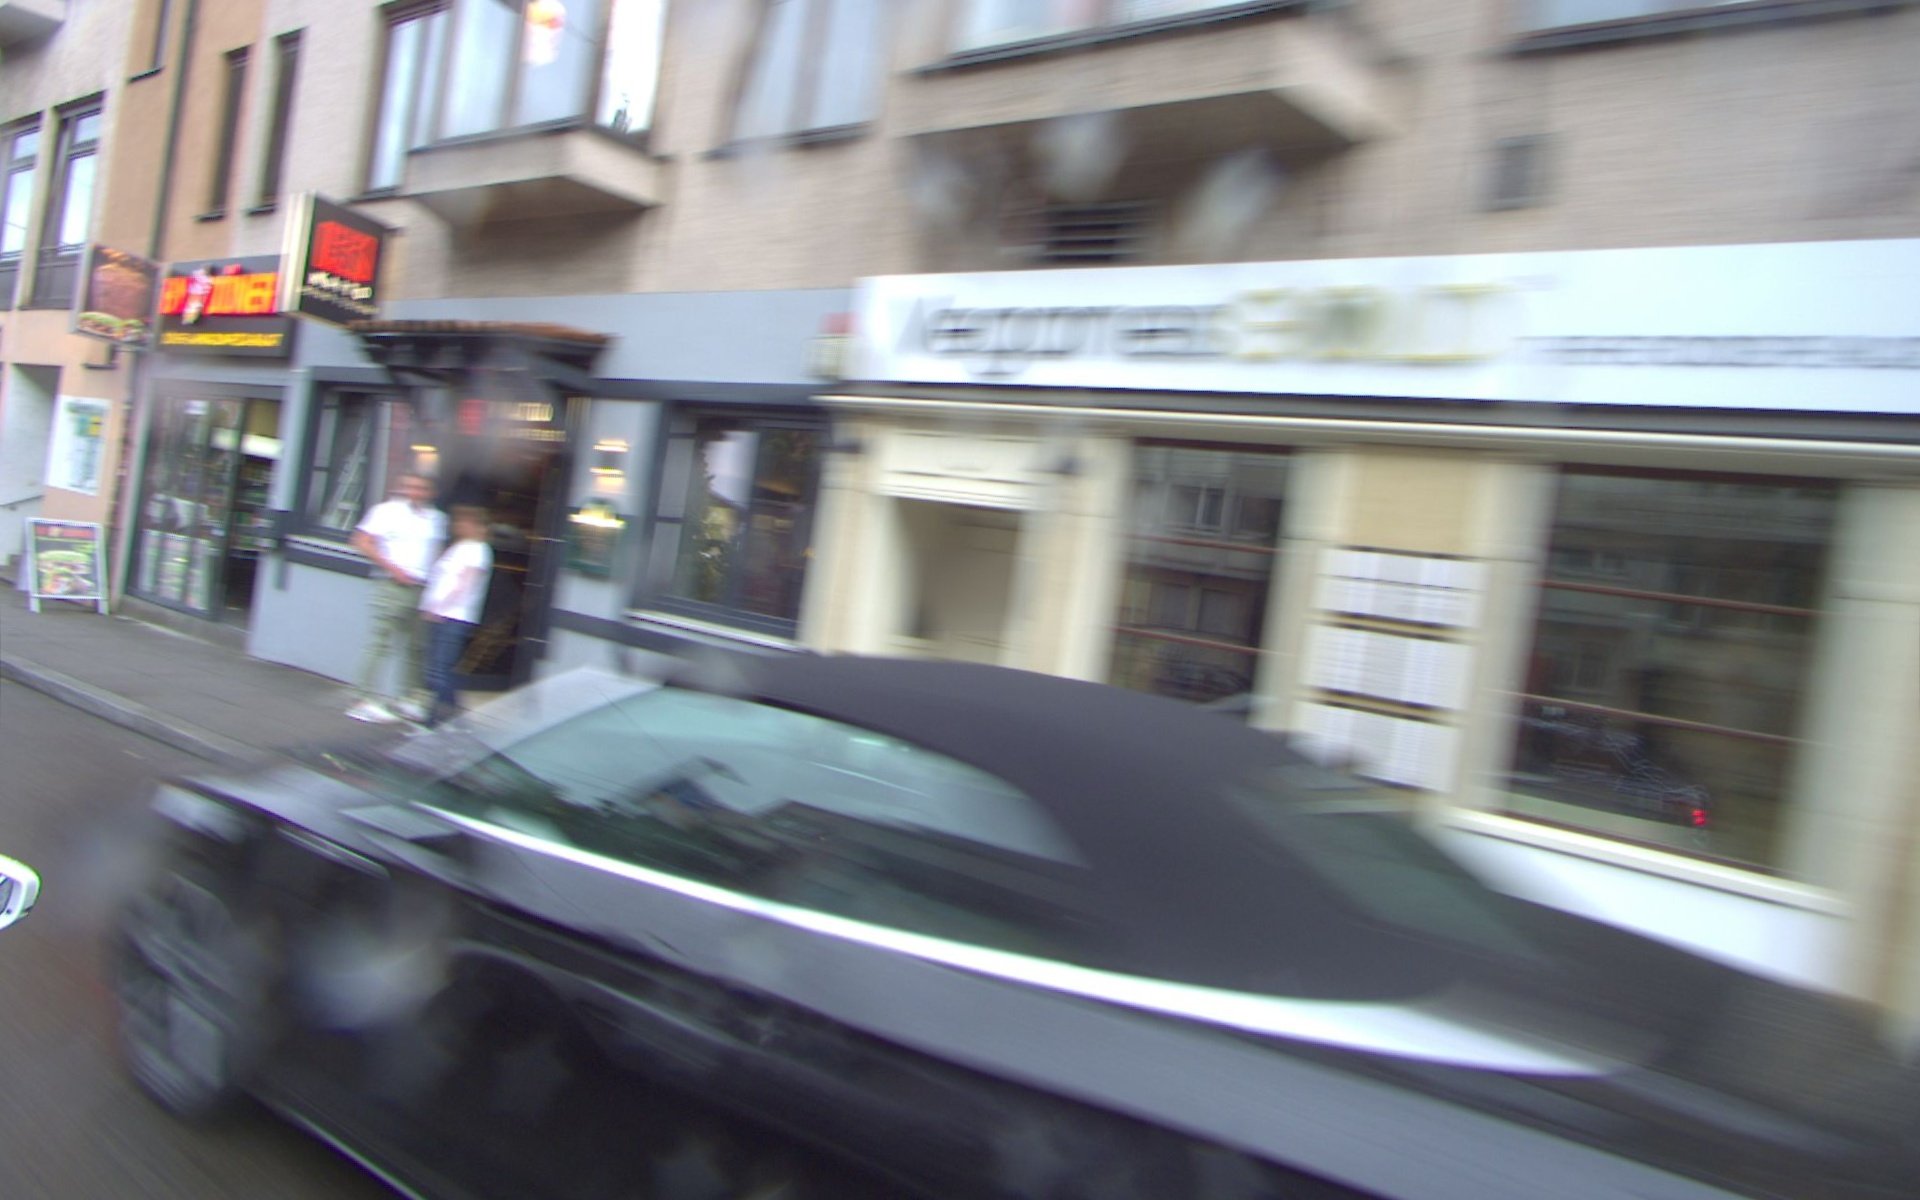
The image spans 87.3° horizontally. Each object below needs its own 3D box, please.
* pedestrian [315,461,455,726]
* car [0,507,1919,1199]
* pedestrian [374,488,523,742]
[{"bbox_3d":[-4.324,-0.044,7.580,0.546,1.881,0.530,7,1,24],"label":"pedestrian"},{"bbox_3d":[-0.392,0.765,2.574,4.174,1.480,1.910,7,-1,31],"label":"car"},{"bbox_3d":[-3.650,0.106,7.199,0.585,1.701,0.546,7,1,24],"label":"pedestrian"}]
